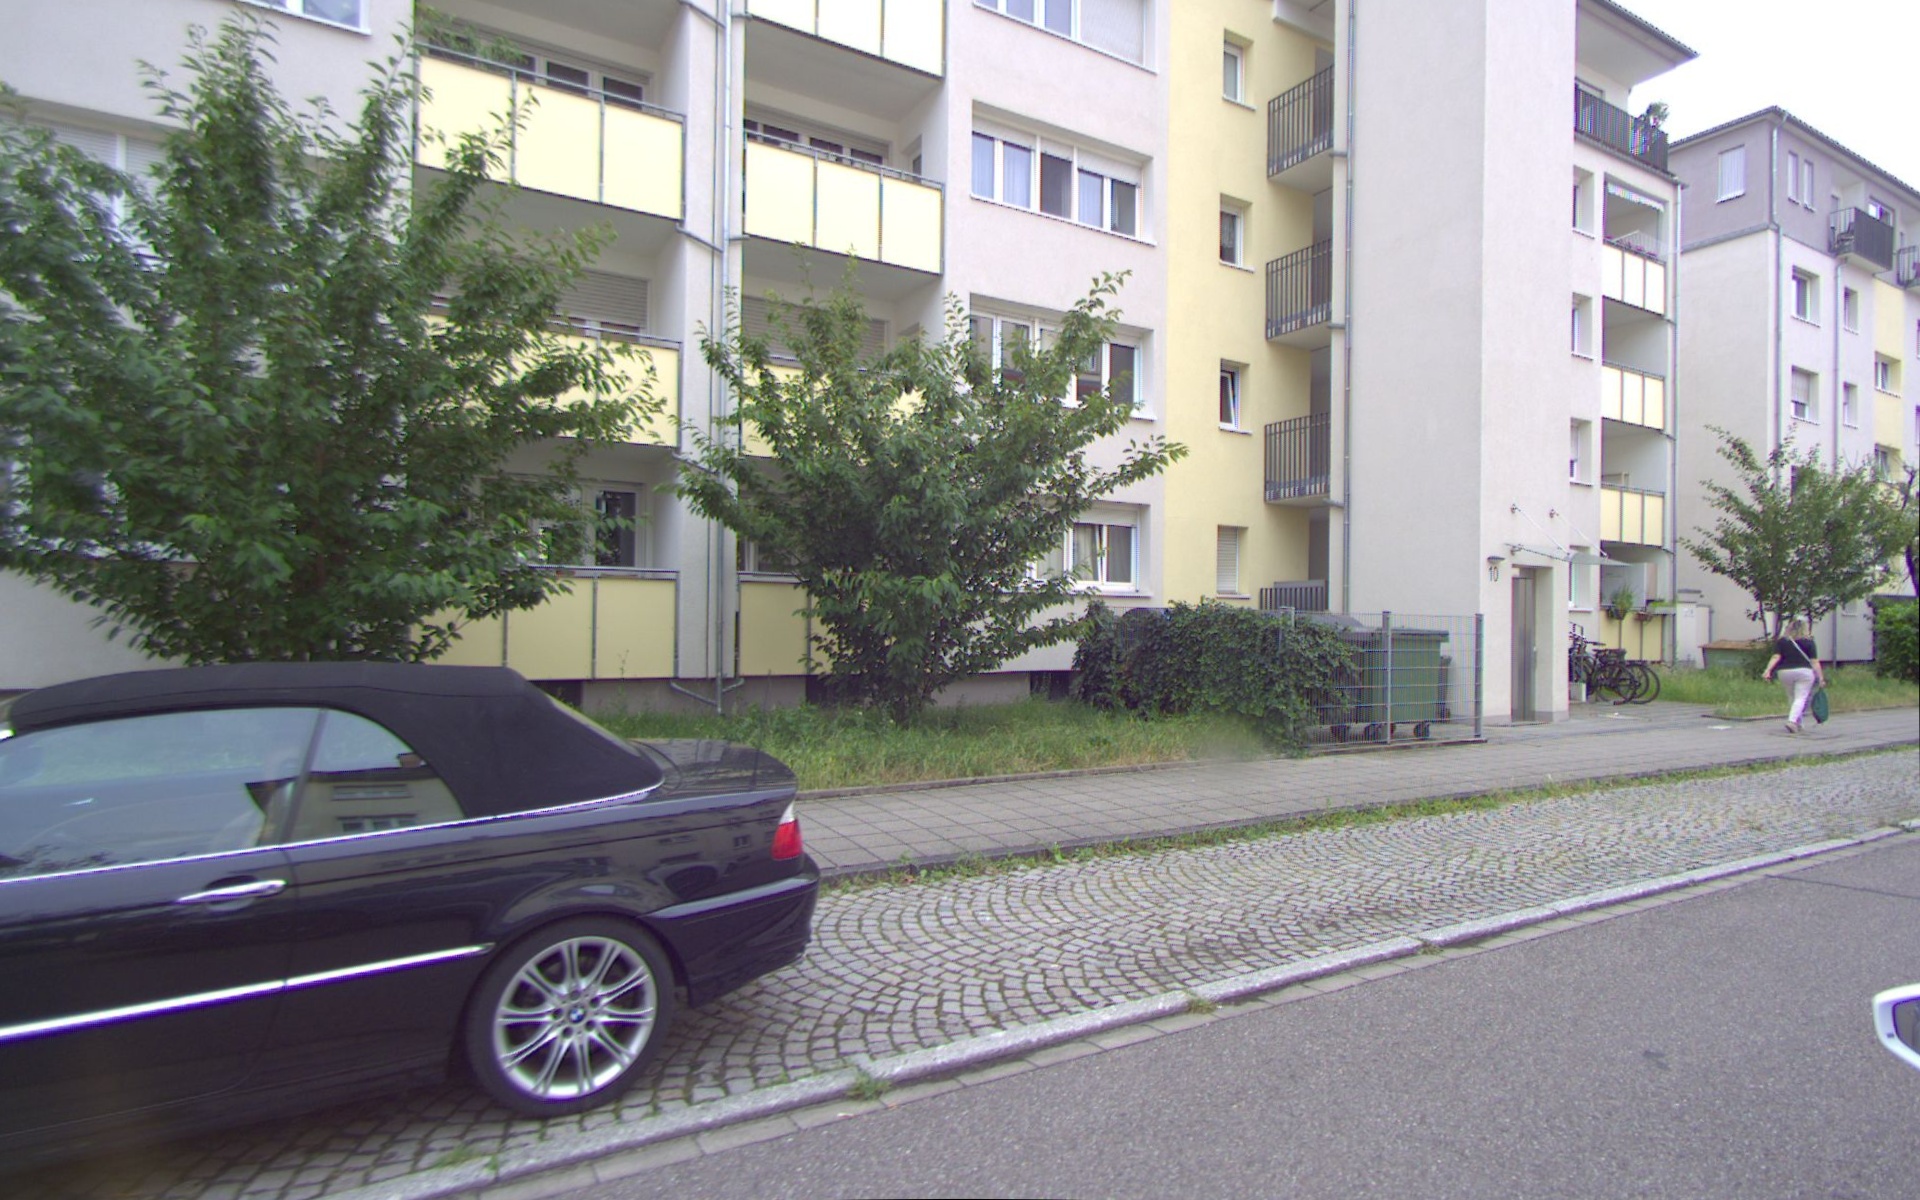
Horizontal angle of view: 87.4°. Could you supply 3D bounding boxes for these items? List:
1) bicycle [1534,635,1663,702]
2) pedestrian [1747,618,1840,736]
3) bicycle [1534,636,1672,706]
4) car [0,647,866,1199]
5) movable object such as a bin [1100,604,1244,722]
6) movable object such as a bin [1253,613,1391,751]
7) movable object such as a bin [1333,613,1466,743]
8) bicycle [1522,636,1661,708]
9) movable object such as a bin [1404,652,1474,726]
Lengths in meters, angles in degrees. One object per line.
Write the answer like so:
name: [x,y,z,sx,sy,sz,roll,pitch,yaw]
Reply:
bicycle: [12.079,1.260,19.067,0.616,1.156,2.011,1,-1,-32]
pedestrian: [12.021,1.081,14.488,0.937,1.631,0.794,1,-1,-34]
bicycle: [11.590,1.246,18.170,0.618,1.156,2.006,1,-1,-39]
car: [-2.665,0.880,3.314,4.312,1.341,1.860,2,0,-32]
movable object such as a bin: [2.884,0.819,13.751,1.357,1.484,1.345,1,0,-31]
movable object such as a bin: [4.077,0.889,11.319,1.271,1.448,0.800,1,0,-27]
movable object such as a bin: [5.224,0.894,11.945,1.271,1.448,0.801,1,0,-26]
bicycle: [11.119,1.237,17.751,0.618,1.156,2.006,1,-1,-39]
movable object such as a bin: [6.713,1.235,14.099,0.644,0.977,0.633,1,-1,-30]
